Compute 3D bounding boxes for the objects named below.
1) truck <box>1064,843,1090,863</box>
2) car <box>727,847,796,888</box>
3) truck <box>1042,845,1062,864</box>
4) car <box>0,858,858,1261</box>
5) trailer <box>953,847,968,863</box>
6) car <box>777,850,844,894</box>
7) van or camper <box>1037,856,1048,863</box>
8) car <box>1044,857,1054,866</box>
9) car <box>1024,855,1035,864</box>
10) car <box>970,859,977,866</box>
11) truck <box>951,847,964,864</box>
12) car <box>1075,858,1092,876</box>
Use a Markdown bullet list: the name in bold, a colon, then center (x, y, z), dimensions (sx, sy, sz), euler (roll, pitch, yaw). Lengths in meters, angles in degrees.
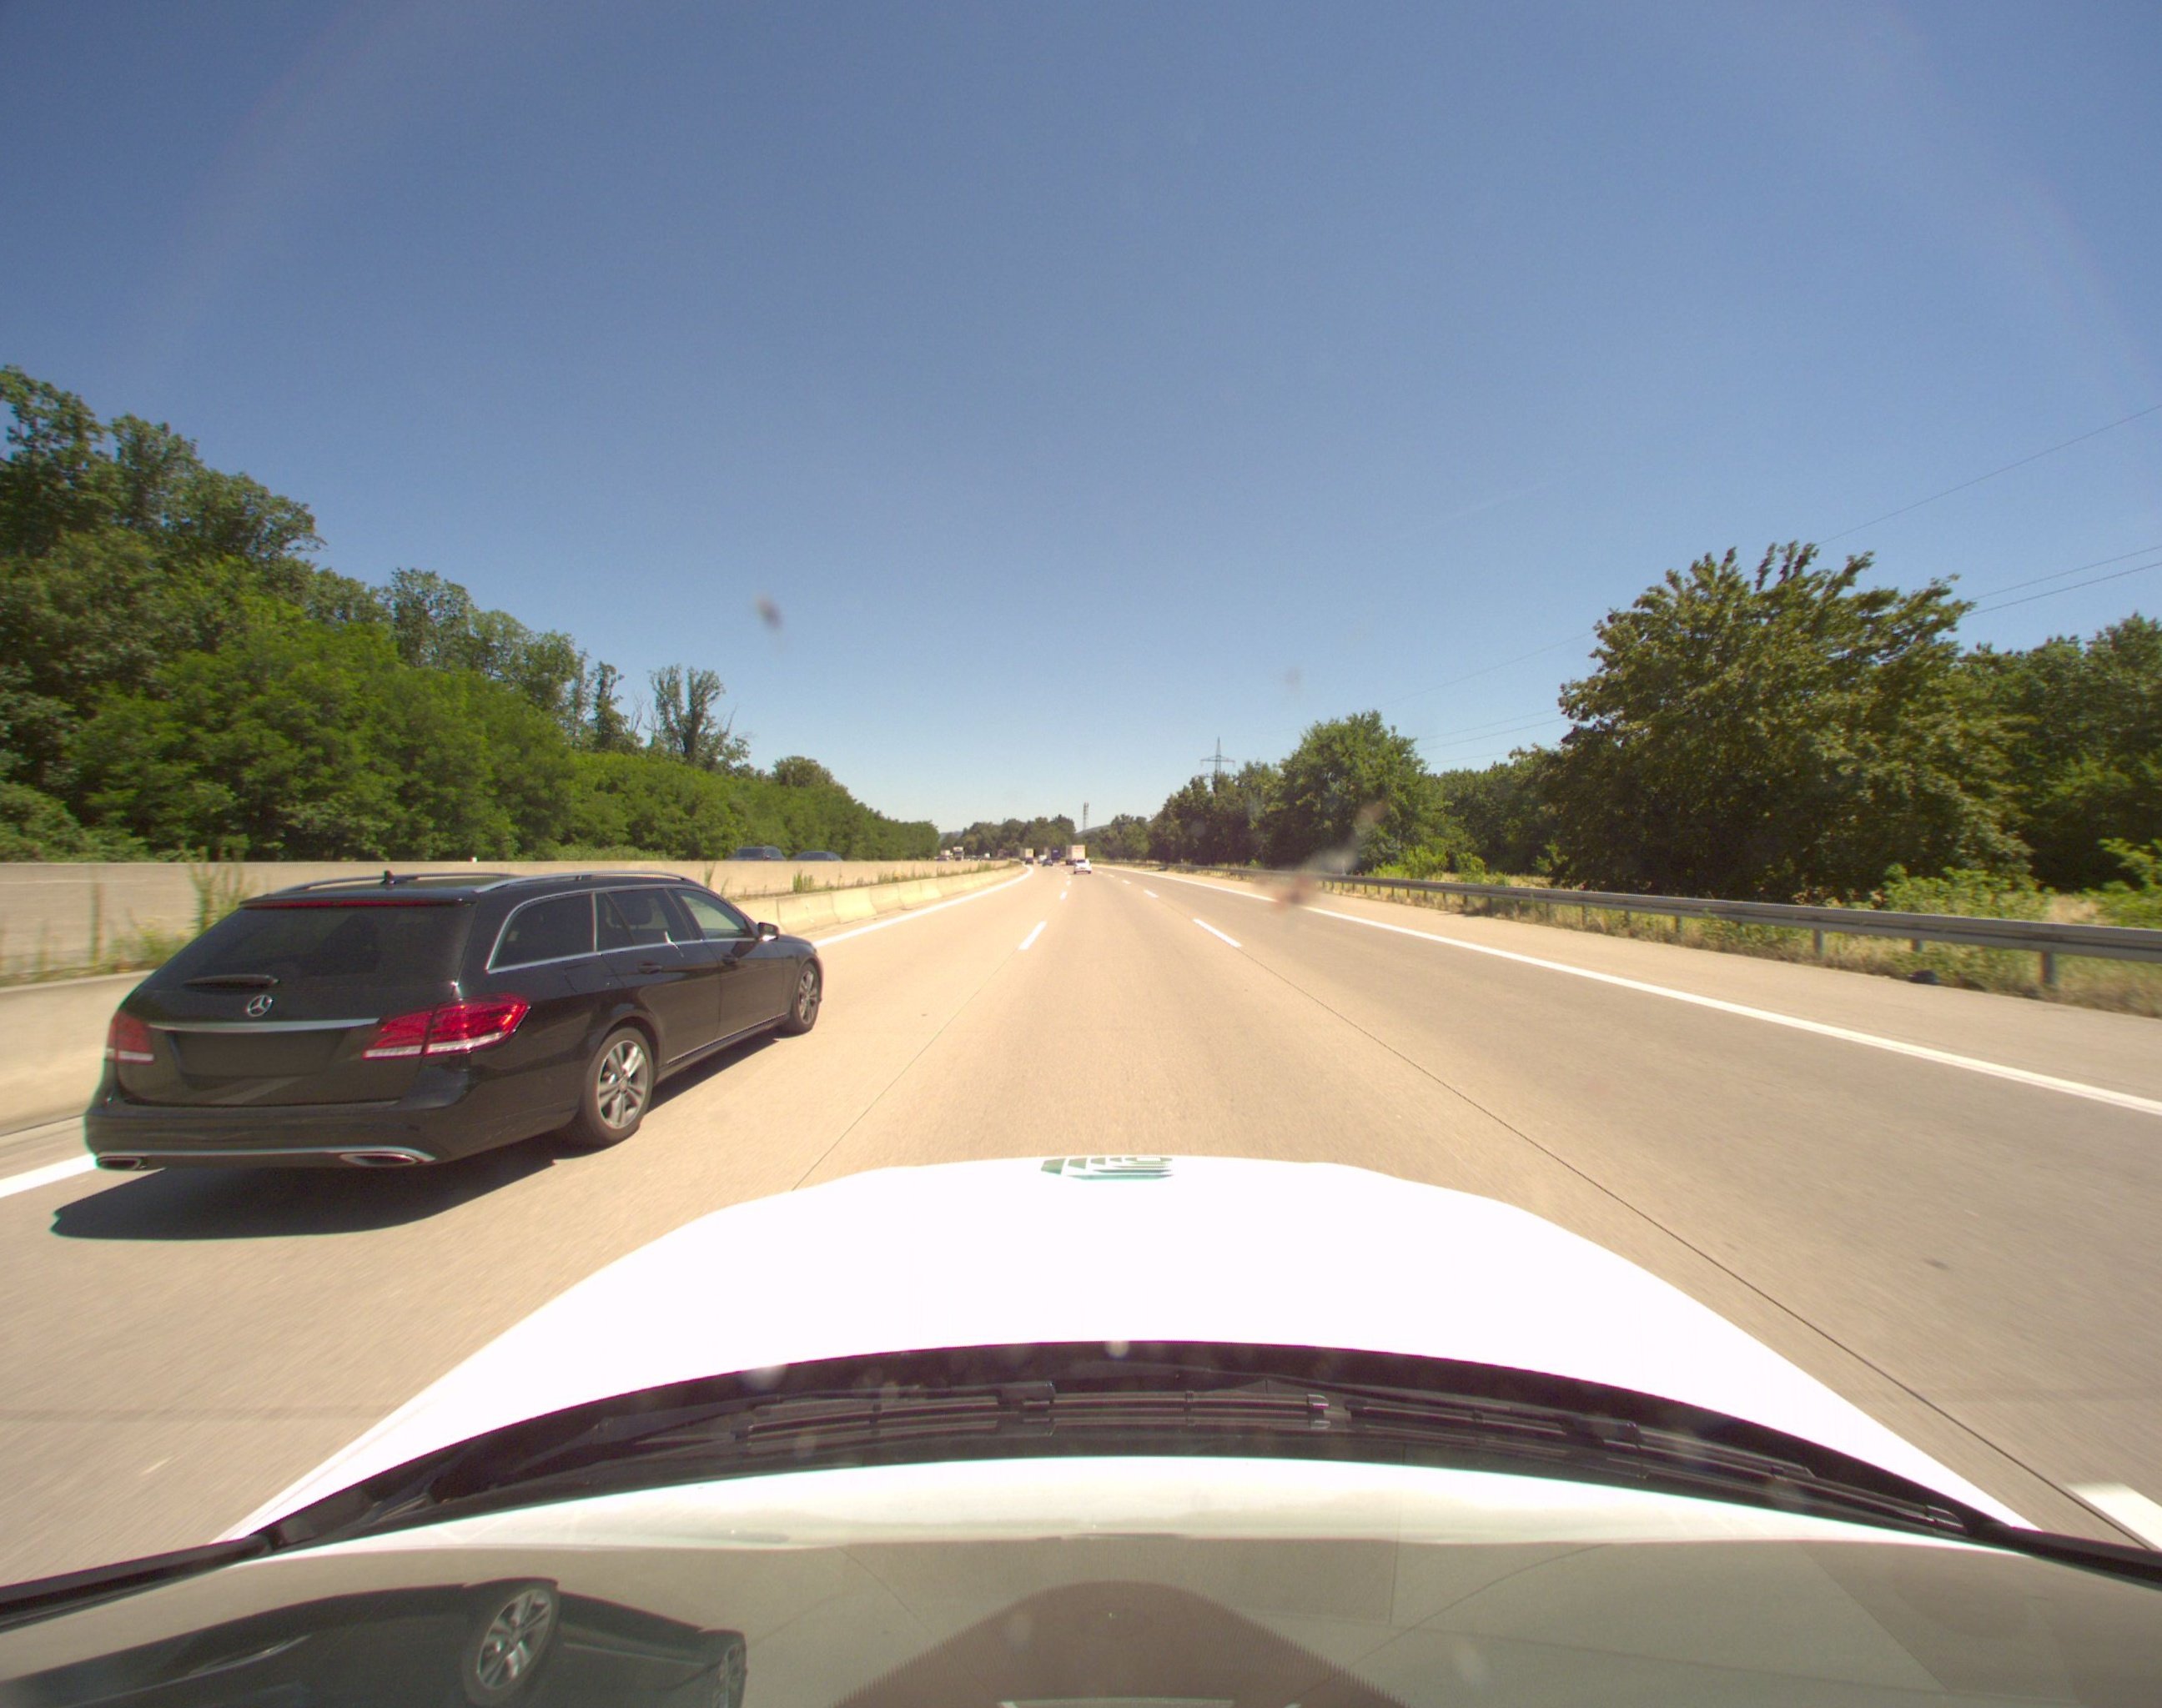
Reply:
- **truck**: center (-0.890, -0.168, 163.133), dimensions (3.814, 3.889, 14.126), euler (-1, 0, -5)
- **car**: center (-15.710, 0.657, 40.268), dimensions (1.653, 1.922, 4.139), euler (0, 0, 1)
- **truck**: center (-7.724, 0.138, 216.260), dimensions (3.904, 4.741, 14.015), euler (-1, 0, -7)
- **car**: center (-3.407, 0.794, 5.878), dimensions (1.884, 1.473, 5.605), euler (-1, 0, 2)
- **trailer**: center (-30.540, 0.364, 206.320), dimensions (2.677, 3.935, 13.224), euler (-1, 0, -4)
- **car**: center (-12.298, 0.803, 37.317), dimensions (1.653, 1.922, 4.007), euler (0, 0, 1)
- **van or camper**: center (-9.619, 1.355, 202.206), dimensions (1.872, 1.838, 3.976), euler (-1, 0, -17)
- **car**: center (-6.169, 1.376, 155.287), dimensions (1.608, 1.725, 3.565), euler (-1, 0, -6)
- **car**: center (-11.712, 1.229, 184.871), dimensions (2.021, 1.700, 3.989), euler (4, 0, -8)
- **car**: center (-32.396, 2.530, 246.152), dimensions (1.859, 2.014, 3.993), euler (-1, 0, -5)
- **truck**: center (-29.981, 0.324, 198.374), dimensions (2.660, 3.935, 5.959), euler (-1, 0, -5)
- **car**: center (0.251, 1.290, 82.102), dimensions (1.636, 1.662, 3.360), euler (3, 0, 0)
